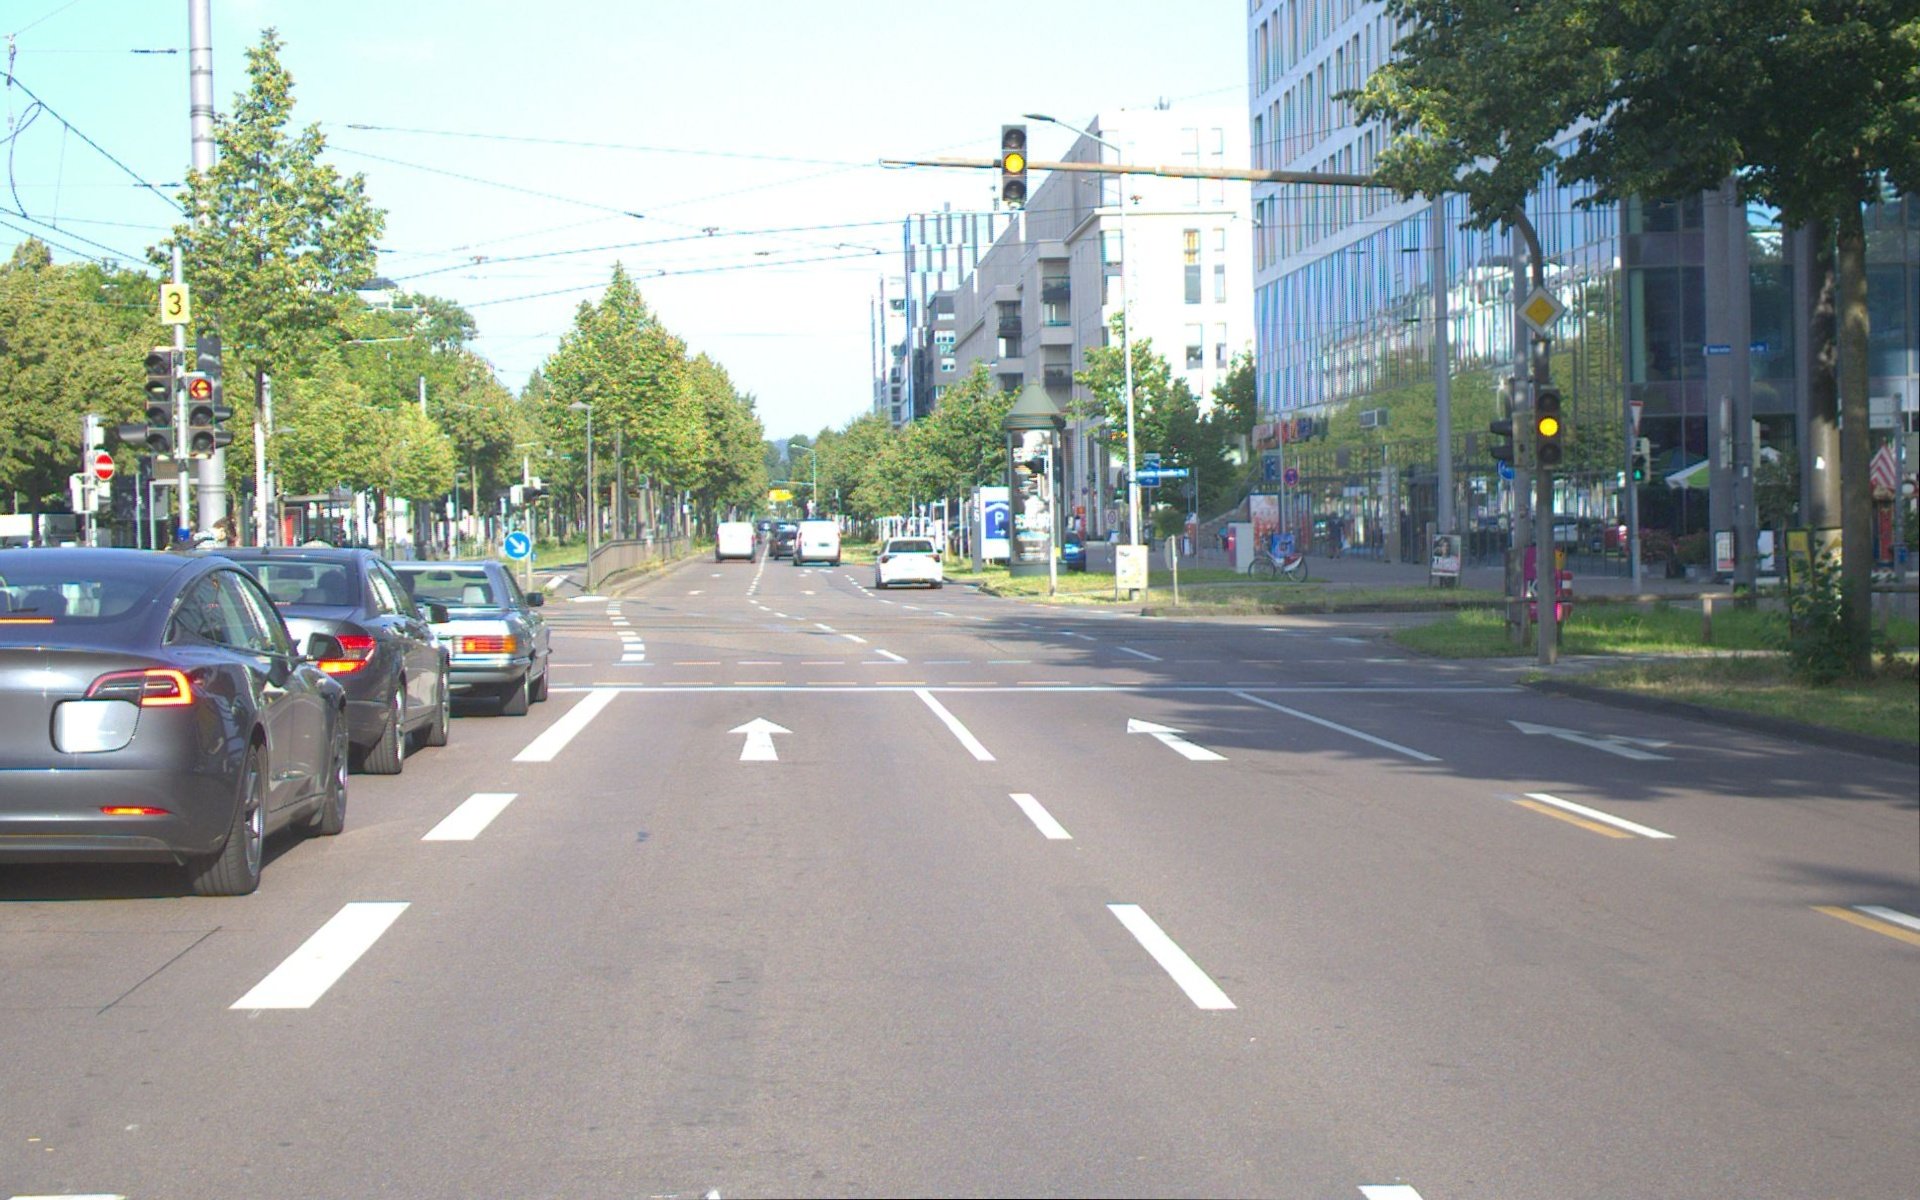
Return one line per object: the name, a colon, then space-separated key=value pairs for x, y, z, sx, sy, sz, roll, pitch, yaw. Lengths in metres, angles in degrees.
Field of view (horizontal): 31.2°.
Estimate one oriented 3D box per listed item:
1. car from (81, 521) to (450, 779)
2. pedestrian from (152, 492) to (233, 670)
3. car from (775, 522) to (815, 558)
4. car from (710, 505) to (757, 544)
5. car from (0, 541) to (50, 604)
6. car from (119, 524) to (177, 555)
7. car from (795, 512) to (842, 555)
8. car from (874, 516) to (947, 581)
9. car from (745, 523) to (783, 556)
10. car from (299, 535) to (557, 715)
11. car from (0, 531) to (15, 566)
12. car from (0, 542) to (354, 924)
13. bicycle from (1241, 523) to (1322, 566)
car: x=-4.434 y=0.248 z=22.530 sx=1.786 sy=1.473 sz=4.354 roll=1 pitch=2 yaw=-4
pedestrian: x=-7.779 y=-0.194 z=34.846 sx=0.699 sy=1.786 sz=0.635 roll=0 pitch=1 yaw=-2
car: x=-7.975 y=-2.932 z=166.449 sx=1.924 sy=1.678 sz=4.001 roll=1 pitch=2 yaw=-2
car: x=-10.139 y=-3.401 z=154.218 sx=2.014 sy=1.678 sz=4.001 roll=1 pitch=2 yaw=-2
car: x=-23.548 y=-0.659 z=83.392 sx=1.993 sy=1.499 sz=4.093 roll=-1 pitch=1 yaw=-3
car: x=-42.097 y=-3.140 z=178.377 sx=1.881 sy=1.554 sz=4.000 roll=-1 pitch=1 yaw=2
car: x=-5.803 y=-2.738 z=141.043 sx=1.864 sy=1.678 sz=4.001 roll=1 pitch=2 yaw=-2
car: x=-1.372 y=-1.409 z=93.434 sx=1.864 sy=1.678 sz=4.001 roll=1 pitch=2 yaw=-2
car: x=-10.354 y=-3.191 z=180.973 sx=1.923 sy=1.678 sz=4.001 roll=1 pitch=2 yaw=-4
car: x=-4.411 y=0.156 z=29.043 sx=1.763 sy=1.325 sz=4.401 roll=1 pitch=2 yaw=-4
car: x=-42.800 y=-2.217 z=149.985 sx=1.881 sy=1.554 sz=4.000 roll=-1 pitch=1 yaw=2
car: x=-3.908 y=0.473 z=15.259 sx=1.889 sy=1.381 sz=4.335 roll=1 pitch=2 yaw=-3
bicycle: x=7.830 y=-1.345 z=83.837 sx=1.877 sy=1.029 sz=0.772 roll=0 pitch=2 yaw=44
